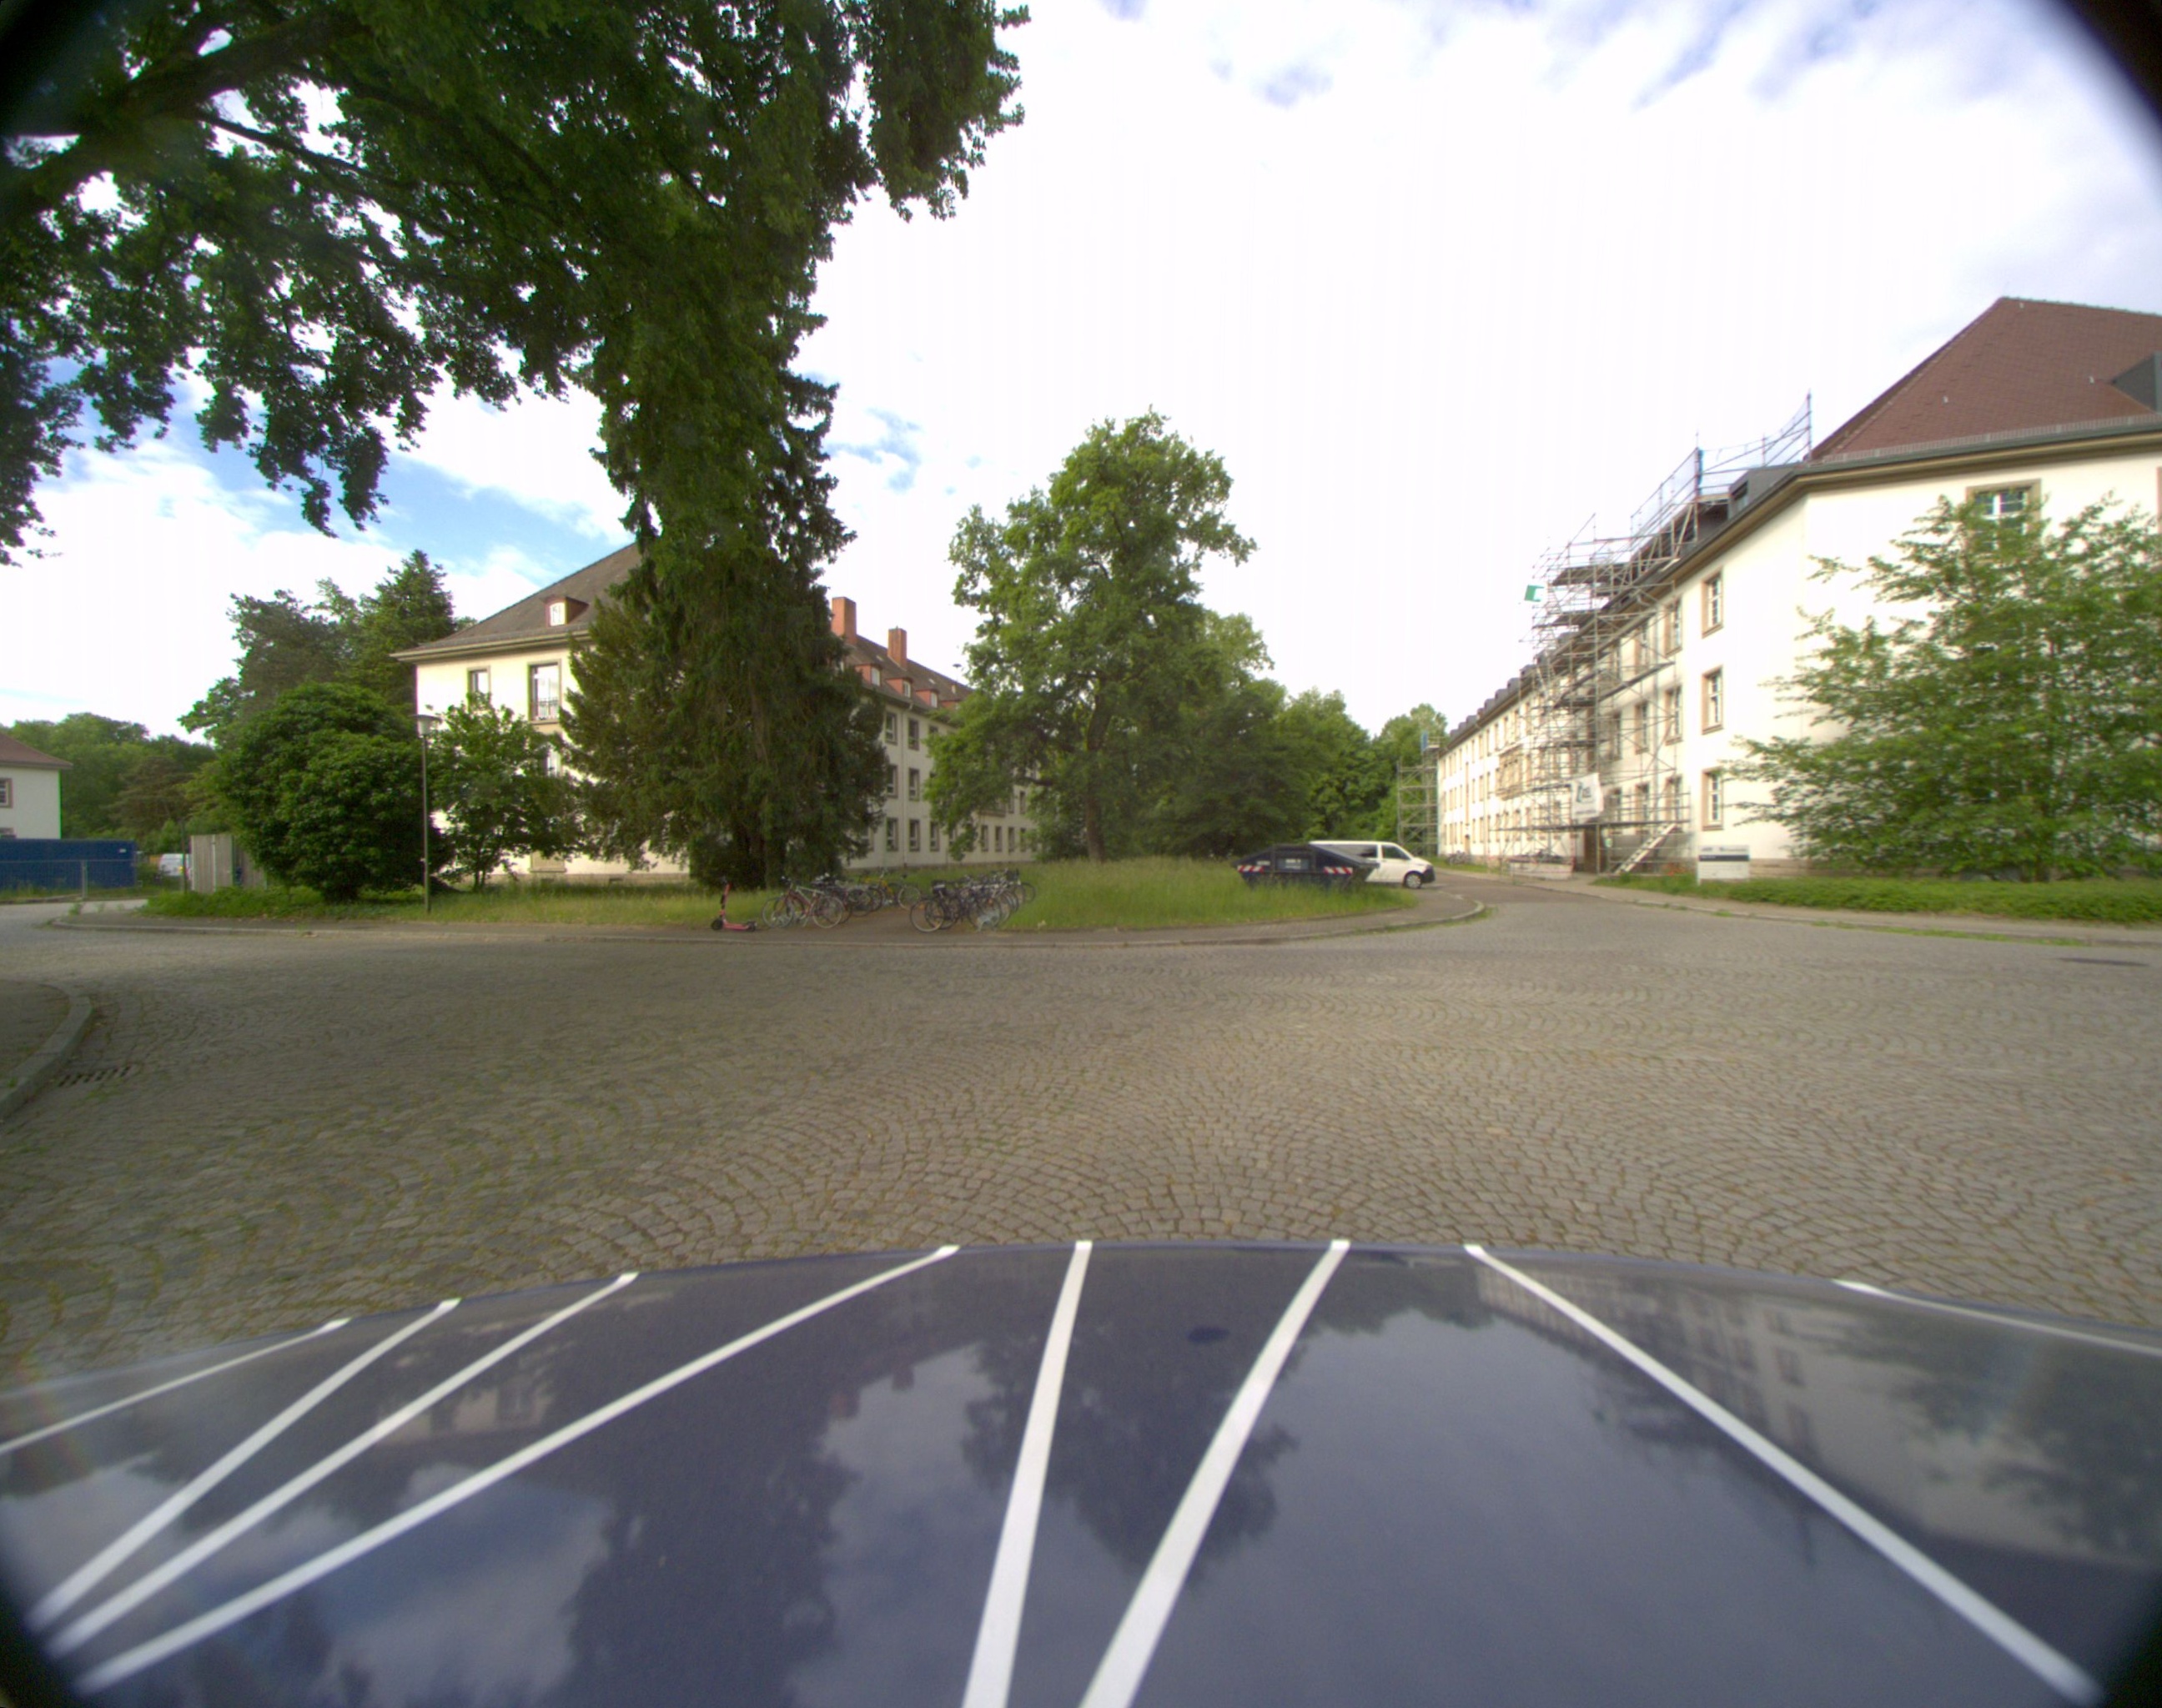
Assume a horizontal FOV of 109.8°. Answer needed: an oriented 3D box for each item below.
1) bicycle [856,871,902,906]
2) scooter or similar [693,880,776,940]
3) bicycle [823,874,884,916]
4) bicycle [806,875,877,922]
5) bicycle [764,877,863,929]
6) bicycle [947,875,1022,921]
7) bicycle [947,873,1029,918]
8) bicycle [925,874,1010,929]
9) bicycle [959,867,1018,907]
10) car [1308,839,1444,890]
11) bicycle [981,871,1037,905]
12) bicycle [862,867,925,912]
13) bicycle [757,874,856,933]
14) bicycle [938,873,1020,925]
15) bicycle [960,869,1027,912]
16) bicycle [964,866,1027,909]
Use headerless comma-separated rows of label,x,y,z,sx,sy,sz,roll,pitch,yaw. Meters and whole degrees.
bicycle,-6.130,1.044,23.063,1.262,1.022,0.434,-2,-1,-2
scooter or similar,-7.396,1.179,16.237,1.549,1.188,0.683,-1,1,21
bicycle,-6.117,1.101,20.483,1.517,1.030,0.544,-1,3,-12
bicycle,-5.993,1.100,19.052,1.630,1.068,0.539,-1,3,-12
bicycle,-6.112,1.120,17.434,1.990,1.108,0.643,-1,3,-2
bicycle,-2.320,1.058,18.438,1.695,0.996,0.632,-2,3,-2
bicycle,-2.331,1.050,19.261,1.959,0.999,0.686,-2,3,-2
bicycle,-2.527,1.055,17.021,1.772,1.097,0.702,-2,3,-2
bicycle,-2.692,0.963,22.178,1.620,1.053,0.526,-2,3,-2
car,12.361,0.408,32.267,5.207,2.048,2.191,1,0,16
bicycle,-2.147,1.009,22.750,1.620,0.906,0.526,-2,3,-2
bicycle,-5.272,0.997,21.382,1.644,1.179,0.573,-1,3,-8
bicycle,-6.029,1.081,16.756,1.900,1.216,0.643,0,3,-2
bicycle,-2.361,1.036,17.743,1.798,1.097,0.702,-2,3,-2
bicycle,-2.416,0.999,21.091,1.776,1.099,0.541,-2,3,-2
bicycle,-2.415,0.953,21.642,1.701,1.110,0.541,-2,3,-2
